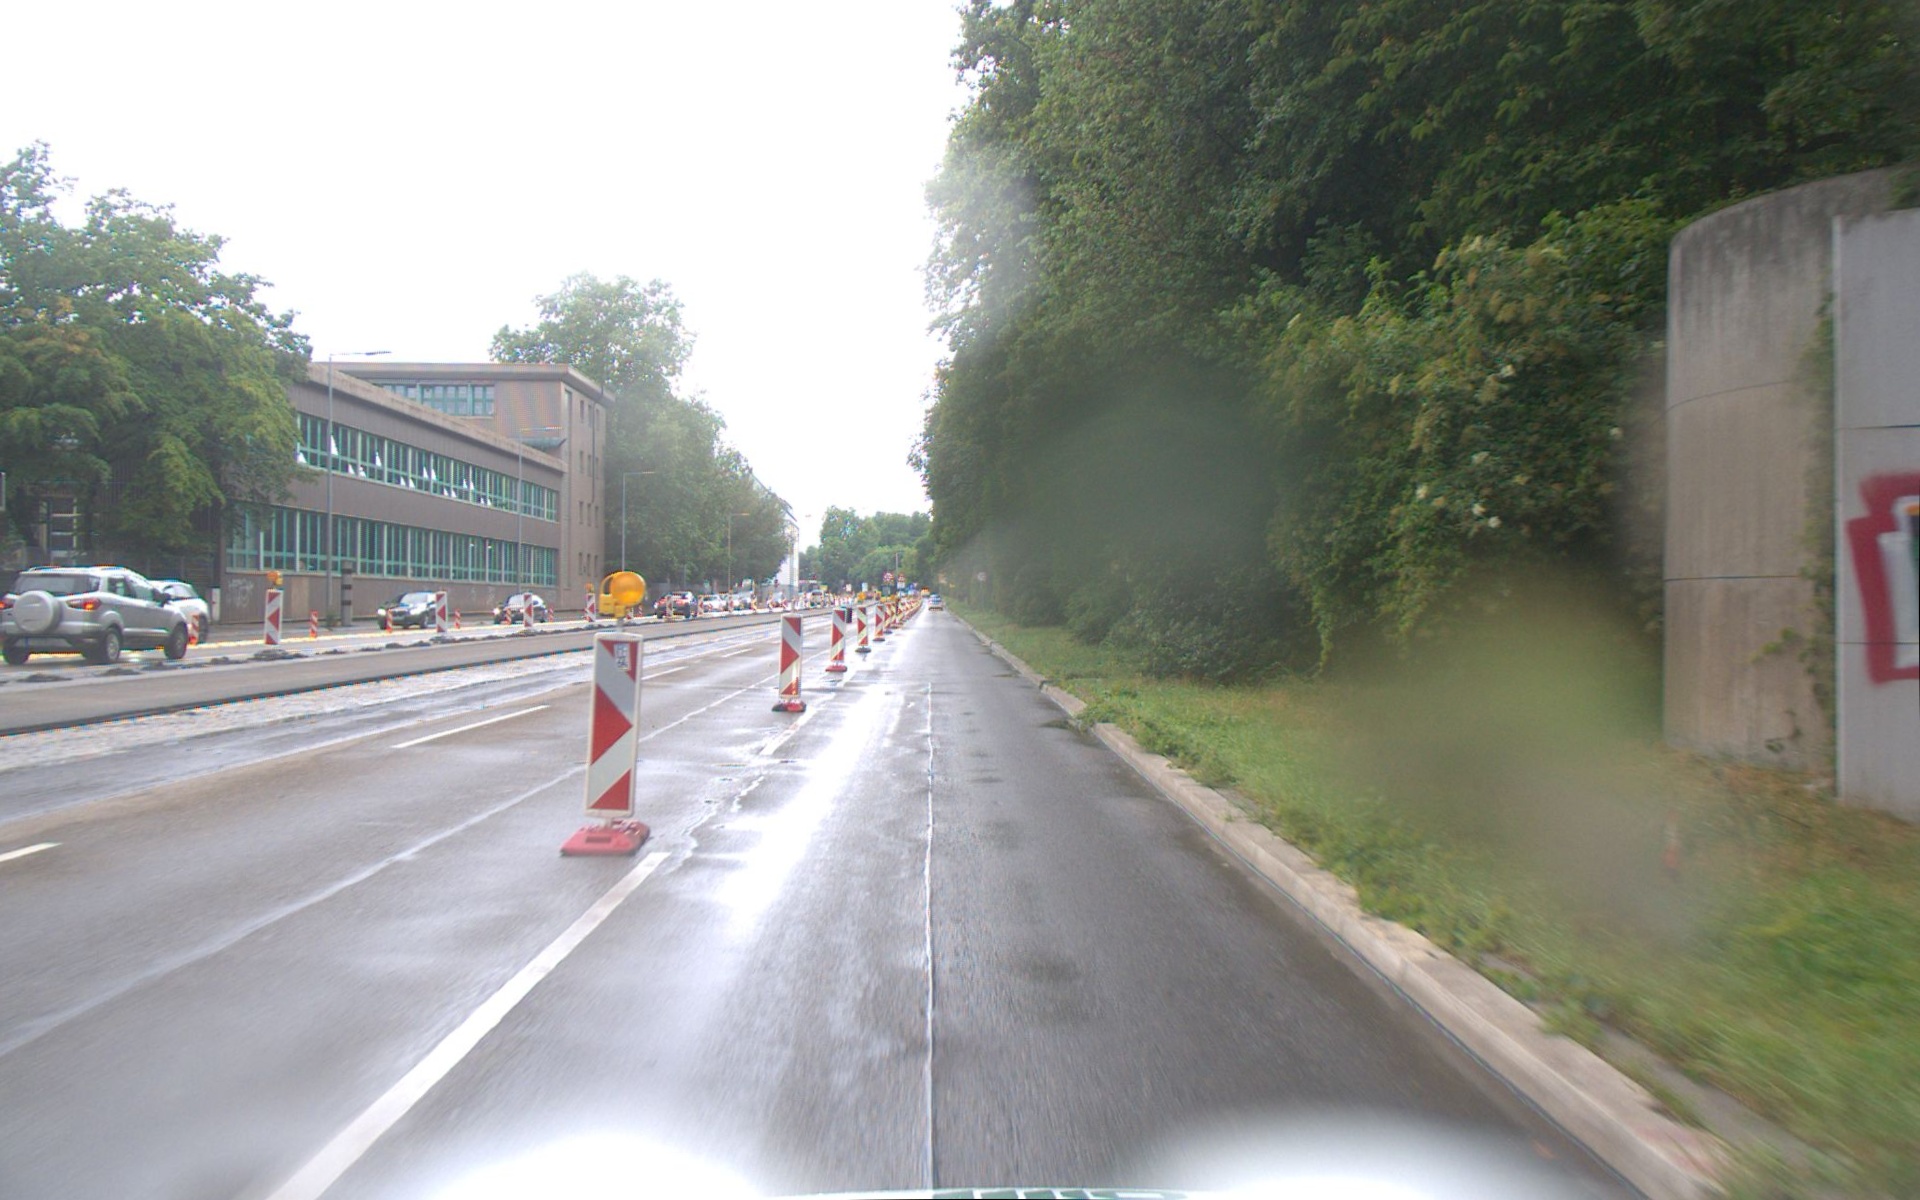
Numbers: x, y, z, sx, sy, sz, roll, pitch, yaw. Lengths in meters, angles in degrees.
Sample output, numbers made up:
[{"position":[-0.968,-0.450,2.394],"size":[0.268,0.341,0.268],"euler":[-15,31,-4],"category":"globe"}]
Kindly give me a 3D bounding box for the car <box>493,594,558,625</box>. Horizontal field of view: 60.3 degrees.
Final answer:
[{"position":[-21.430,0.469,81.784],"size":[2.005,1.480,4.763],"euler":[1,0,-1],"category":"car"}]

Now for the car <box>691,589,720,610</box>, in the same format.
[{"position":[-20.298,-0.028,132.028],"size":[1.767,1.561,3.991],"euler":[1,0,-1],"category":"car"}]

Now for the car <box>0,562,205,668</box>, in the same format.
[{"position":[-14.923,0.256,28.703],"size":[1.817,1.677,3.999],"euler":[1,0,-1],"category":"car"}]

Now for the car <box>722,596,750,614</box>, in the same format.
[{"position":[-20.014,0.456,147.865],"size":[1.855,1.528,4.516],"euler":[1,0,0],"category":"car"}]

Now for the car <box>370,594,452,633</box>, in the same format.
[{"position":[-21.612,0.521,65.279],"size":[1.953,1.454,4.263],"euler":[1,0,-2],"category":"car"}]

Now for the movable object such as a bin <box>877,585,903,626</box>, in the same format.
[{"position":[-6.027,0.479,142.856],"size":[1.953,3.426,5.981],"euler":[1,0,-1],"category":"movable object such as a bin"}]

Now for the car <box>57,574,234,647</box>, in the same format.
[{"position":[-18.505,0.217,37.800],"size":[1.953,1.539,4.265],"euler":[1,0,-1],"category":"car"}]

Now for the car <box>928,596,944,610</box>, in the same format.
[{"position":[-2.943,0.340,202.189],"size":[1.953,1.702,3.999],"euler":[1,0,-1],"category":"car"}]

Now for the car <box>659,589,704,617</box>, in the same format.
[{"position":[-15.928,0.189,94.630],"size":[1.953,1.545,3.999],"euler":[1,0,-1],"category":"car"}]
